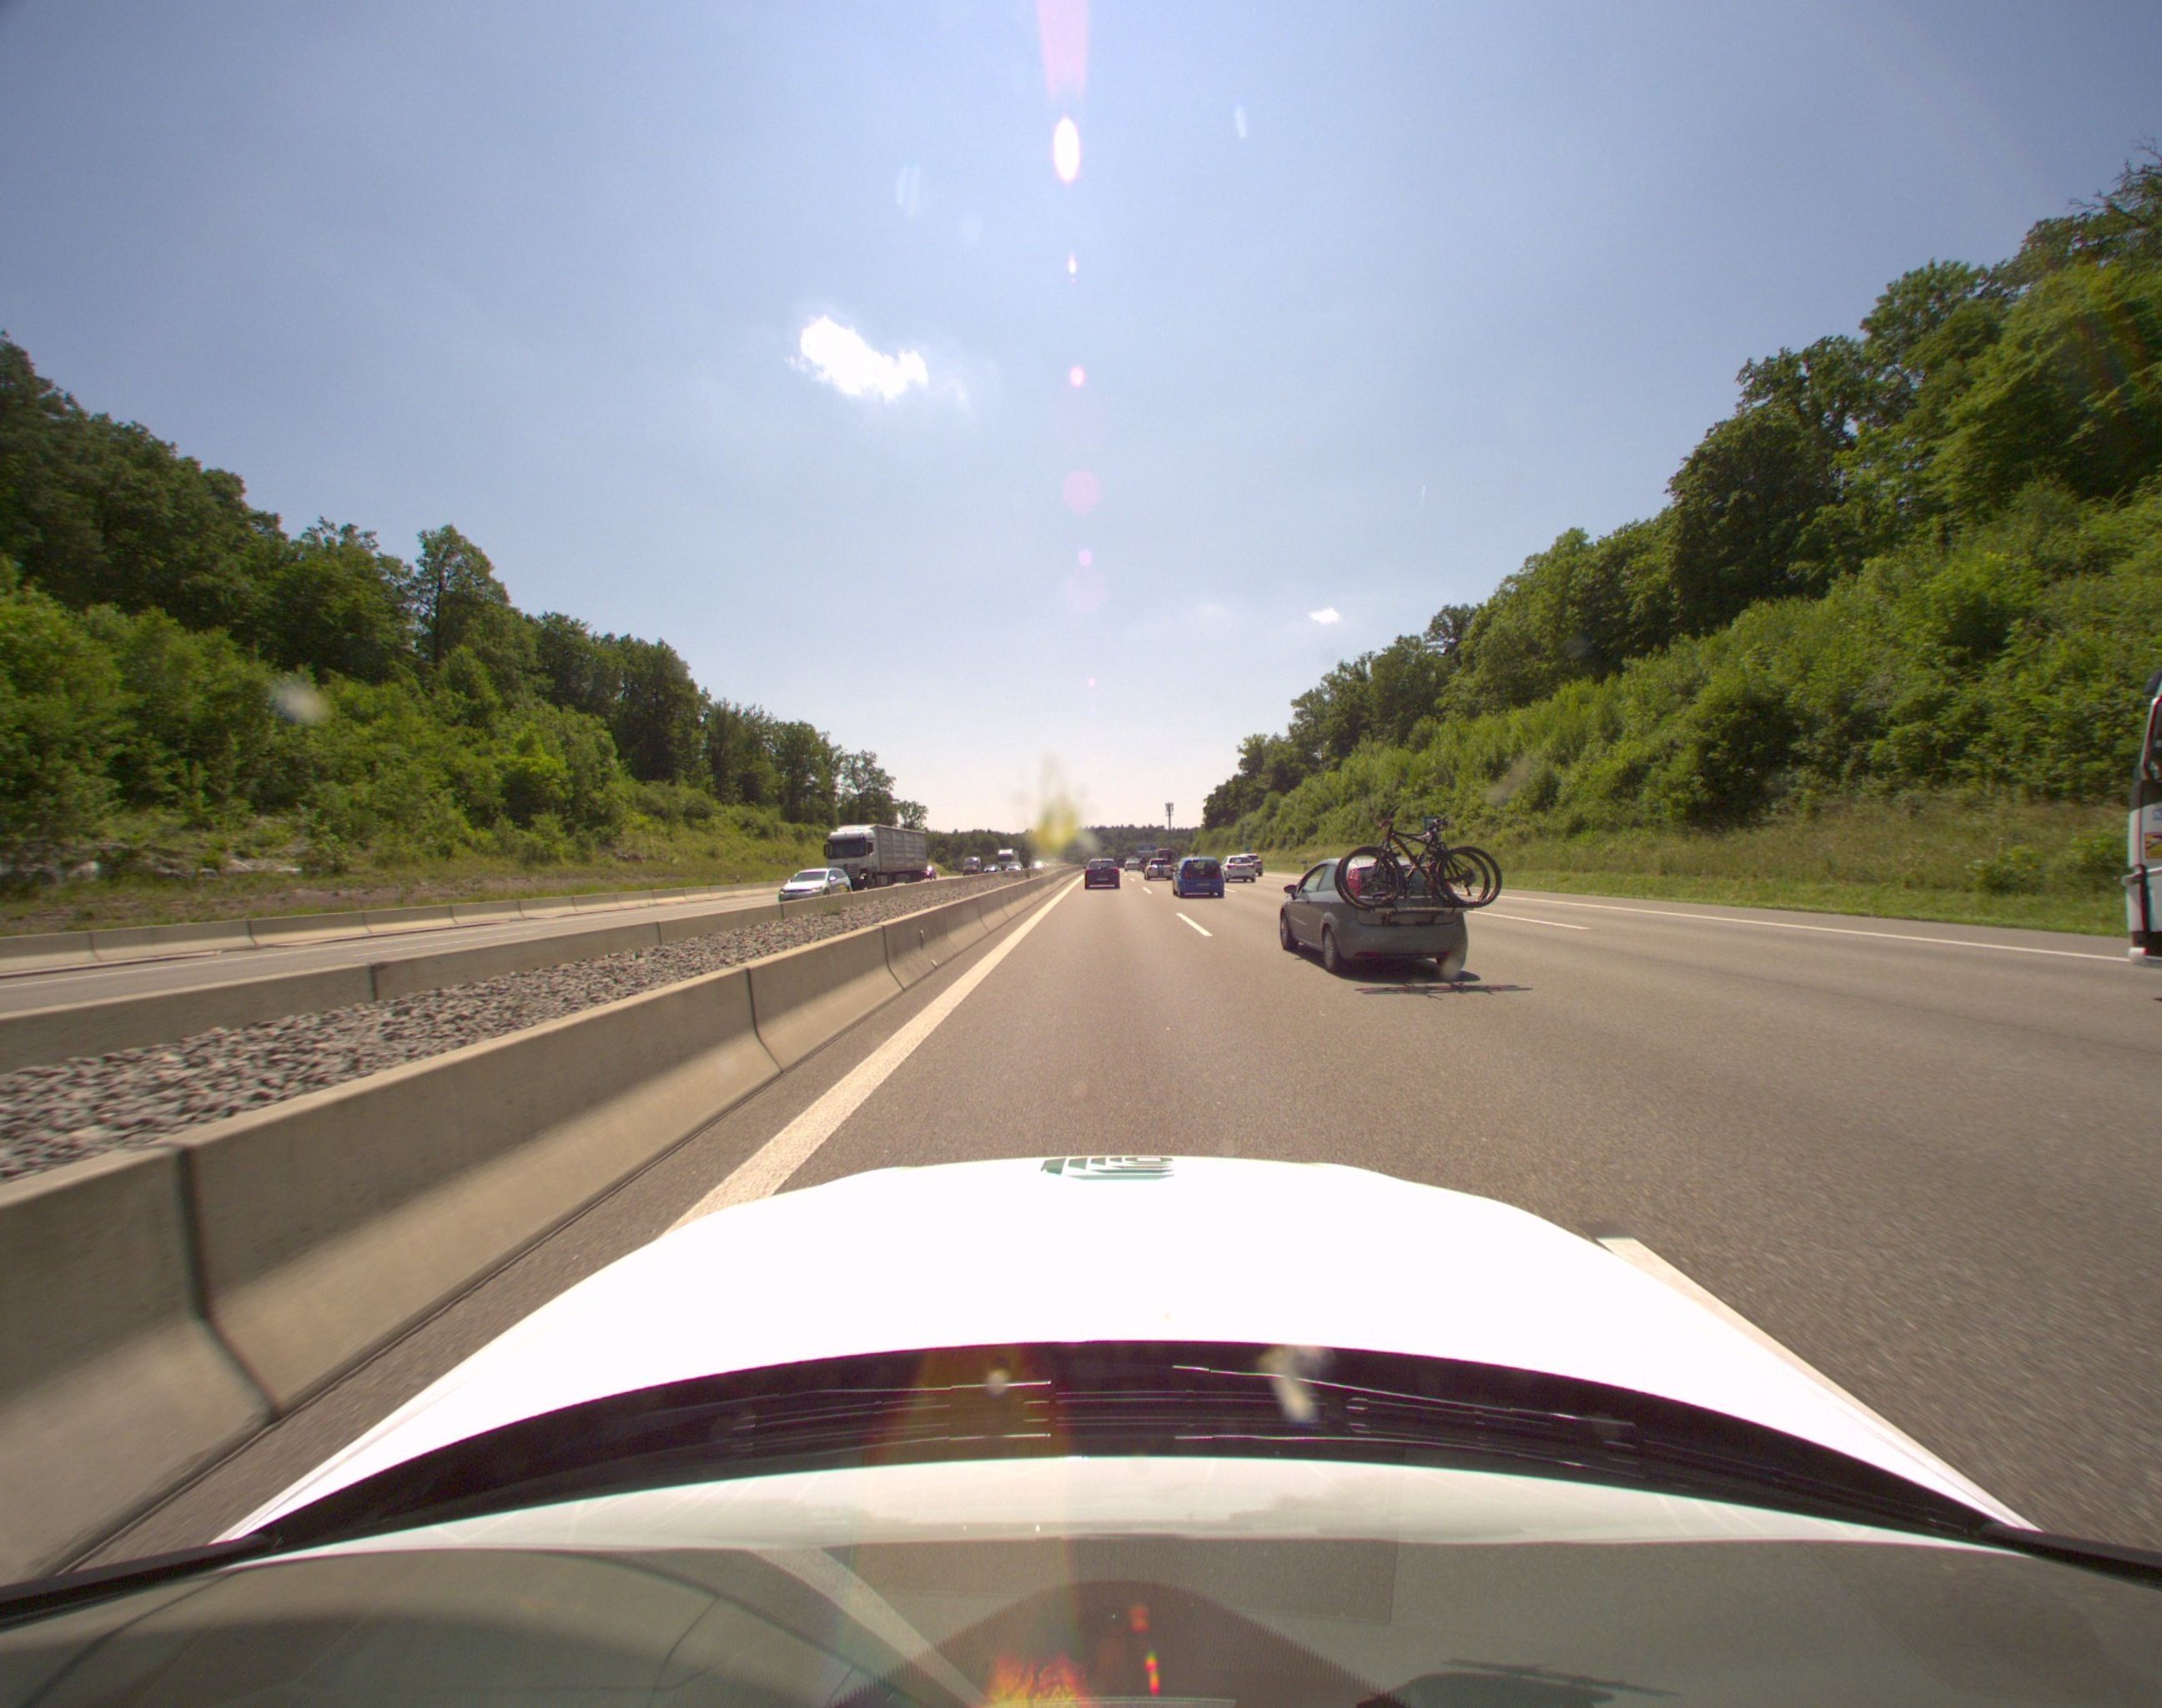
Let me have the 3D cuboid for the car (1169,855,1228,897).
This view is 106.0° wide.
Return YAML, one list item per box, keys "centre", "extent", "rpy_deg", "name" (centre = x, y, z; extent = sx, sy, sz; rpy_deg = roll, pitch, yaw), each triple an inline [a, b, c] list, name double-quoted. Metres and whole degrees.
- centre: [4.323, 0.811, 30.535]
  extent: [1.731, 1.411, 4.001]
  rpy_deg: [-2, -1, 2]
  name: "car"

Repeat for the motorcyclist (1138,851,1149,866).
- centre: [6.127, 0.454, 79.905]
  extent: [0.959, 1.437, 1.235]
  rpy_deg: [-3, -1, 0]
  name: "motorcyclist"

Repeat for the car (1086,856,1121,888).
- centre: [1.099, 0.861, 40.024]
  extent: [1.618, 1.487, 3.686]
  rpy_deg: [-1, 0, 2]
  name: "car"

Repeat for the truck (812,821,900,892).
- centre: [-13.850, 0.173, 50.743]
  extent: [3.253, 3.982, 6.799]
  rpy_deg: [-2, 0, 1]
  name: "truck"

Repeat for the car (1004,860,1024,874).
- centre: [-8.326, 1.628, 101.983]
  extent: [2.022, 1.505, 5.438]
  rpy_deg: [-4, -1, -1]
  name: "car"

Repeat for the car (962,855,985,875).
- centre: [-15.335, 1.619, 116.626]
  extent: [2.133, 2.663, 6.781]
  rpy_deg: [-3, -1, 1]
  name: "car"

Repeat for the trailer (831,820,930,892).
- centre: [-13.697, 0.137, 57.321]
  extent: [3.089, 4.253, 13.843]
  rpy_deg: [-3, 0, 1]
  name: "trailer"

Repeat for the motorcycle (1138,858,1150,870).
- centre: [6.156, 0.959, 79.876]
  extent: [0.974, 1.129, 2.271]
  rpy_deg: [-2, -1, 1]
  name: "motorcycle"

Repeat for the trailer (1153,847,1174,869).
- centre: [15.924, 0.868, 157.799]
  extent: [2.847, 3.688, 13.542]
  rpy_deg: [-2, -2, 1]
  name: "trailer"

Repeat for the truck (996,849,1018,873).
- centre: [-12.911, 1.236, 142.676]
  extent: [2.885, 4.069, 7.790]
  rpy_deg: [-2, 0, 1]
  name: "truck"

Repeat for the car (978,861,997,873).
- centre: [-11.920, 1.672, 104.045]
  extent: [1.661, 1.407, 4.441]
  rpy_deg: [-2, 0, 1]
  name: "car"

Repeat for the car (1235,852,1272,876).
- centre: [12.925, 0.760, 61.258]
  extent: [1.794, 1.731, 5.240]
  rpy_deg: [0, 0, 1]
  name: "car"

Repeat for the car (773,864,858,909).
- centre: [-10.571, 1.233, 32.881]
  extent: [1.673, 1.548, 5.060]
  rpy_deg: [-2, 0, 1]
  name: "car"

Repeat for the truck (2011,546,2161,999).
- centre: [11.151, -0.787, 3.174]
  extent: [2.712, 4.161, 10.973]
  rpy_deg: [0, -1, 2]
  name: "truck"

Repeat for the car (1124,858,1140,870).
- centre: [5.886, 1.194, 94.415]
  extent: [1.776, 1.265, 3.462]
  rpy_deg: [-2, 0, 2]
  name: "car"

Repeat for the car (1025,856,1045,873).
- centre: [-5.107, 1.187, 90.954]
  extent: [1.864, 1.777, 4.469]
  rpy_deg: [-2, 0, 1]
  name: "car"

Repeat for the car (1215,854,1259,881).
- centre: [8.795, 0.728, 46.331]
  extent: [1.660, 1.433, 4.376]
  rpy_deg: [-2, 0, 1]
  name: "car"

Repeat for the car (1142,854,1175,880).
- centre: [4.977, 0.801, 52.643]
  extent: [1.834, 1.552, 4.002]
  rpy_deg: [2, 0, 2]
  name: "car"

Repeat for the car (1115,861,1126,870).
- centre: [7.956, 2.336, 165.187]
  extent: [2.090, 1.851, 4.081]
  rpy_deg: [-2, 0, 1]
  name: "car"

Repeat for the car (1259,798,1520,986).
- centre: [3.975, 0.428, 11.516]
  extent: [1.954, 2.053, 4.786]
  rpy_deg: [-2, 0, 2]
  name: "car"
